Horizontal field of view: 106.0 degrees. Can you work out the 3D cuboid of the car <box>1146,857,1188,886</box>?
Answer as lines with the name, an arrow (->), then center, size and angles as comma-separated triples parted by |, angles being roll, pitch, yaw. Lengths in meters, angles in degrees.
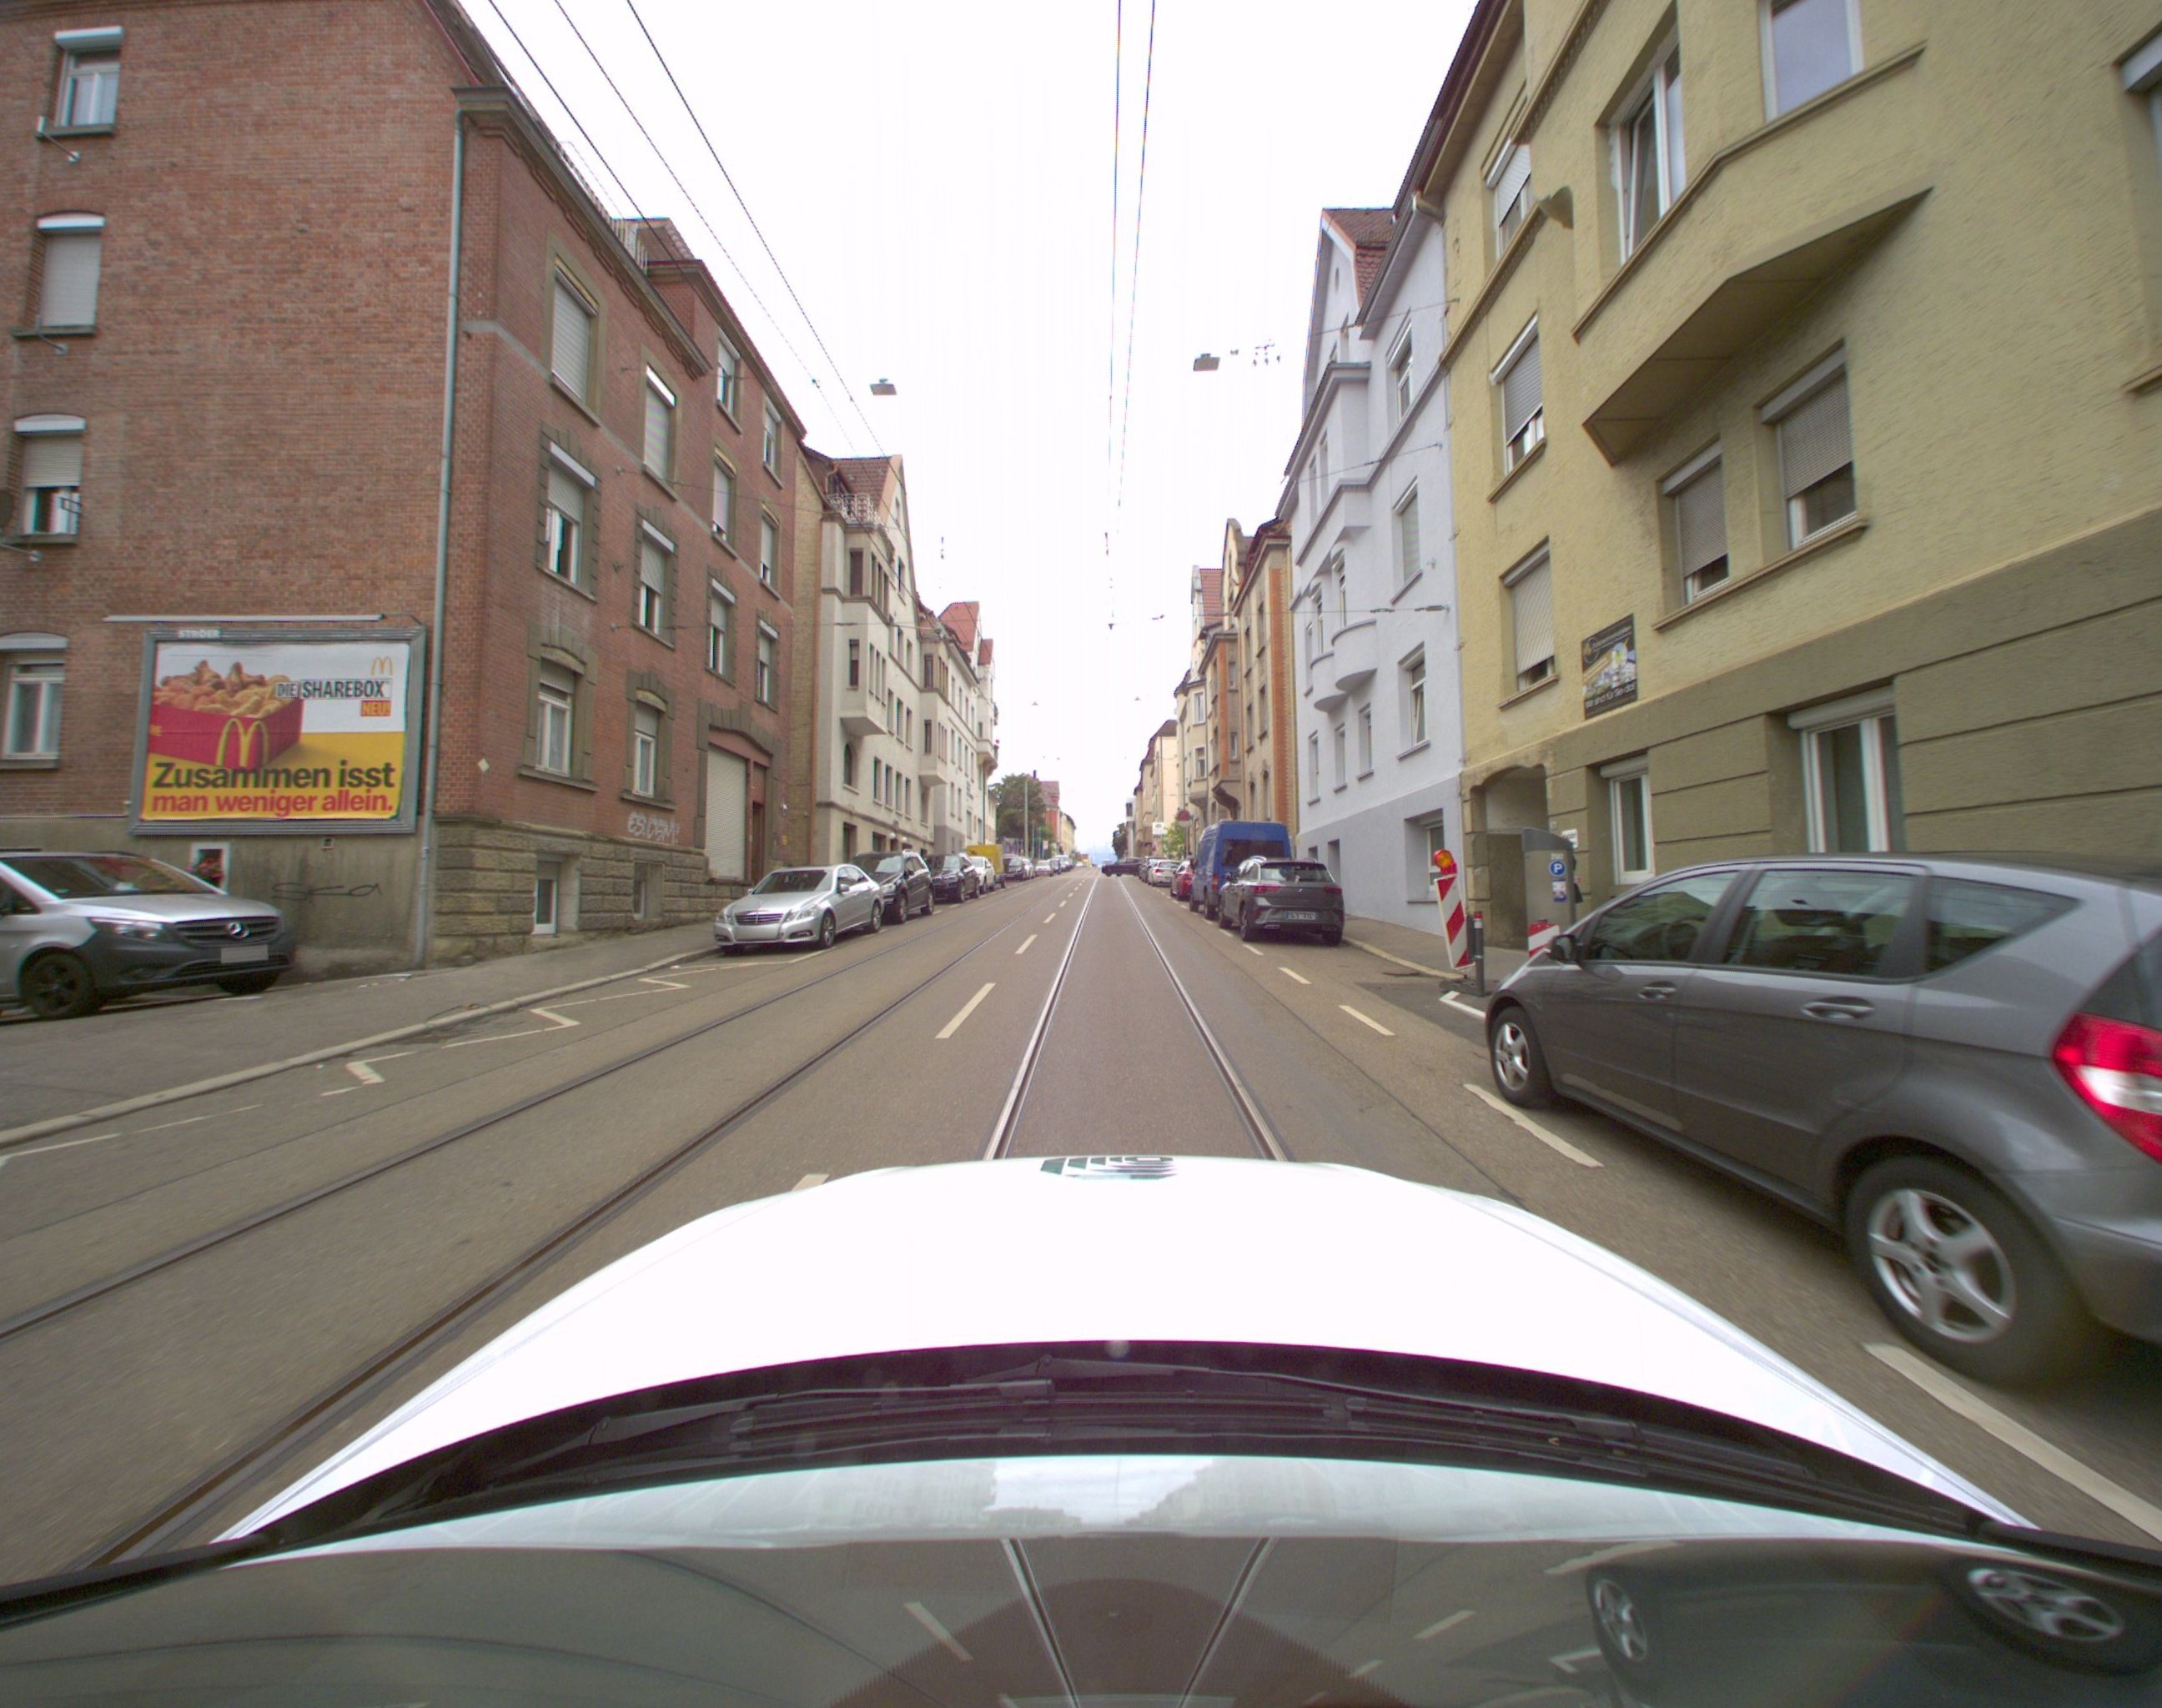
car -> 4.512, 0.890, 43.199 | 1.744, 1.390, 4.307 | 2, 0, 0

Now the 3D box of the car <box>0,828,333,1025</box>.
car -> -11.919, 0.928, 9.143 | 5.154, 1.818, 1.942 | -6, -1, 2

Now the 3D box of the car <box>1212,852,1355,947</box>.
car -> 3.808, 0.792, 16.063 | 1.773, 1.530, 4.192 | 3, 0, 1

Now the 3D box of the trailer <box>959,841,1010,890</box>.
trailer -> -4.606, 0.531, 39.396 | 1.742, 2.155, 4.073 | -3, 0, 2

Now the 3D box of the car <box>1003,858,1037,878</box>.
car -> -4.175, 0.941, 56.209 | 1.772, 1.357, 4.295 | -1, 0, 3

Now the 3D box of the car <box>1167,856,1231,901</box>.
car -> 4.294, 0.855, 30.217 | 1.773, 1.475, 4.591 | 2, 0, 1

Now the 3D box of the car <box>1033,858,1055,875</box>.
car -> -3.584, 1.215, 78.782 | 1.690, 1.556, 3.853 | 0, 0, 3

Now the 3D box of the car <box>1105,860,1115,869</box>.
car -> 5.302, 1.904, 147.420 | 1.666, 1.513, 3.797 | -1, 0, 0

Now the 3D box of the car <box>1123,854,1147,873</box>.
car -> 4.709, 0.842, 71.555 | 1.986, 1.563, 4.292 | 0, 0, 2

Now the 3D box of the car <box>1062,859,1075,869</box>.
car -> -1.981, 1.570, 130.091 | 1.705, 1.446, 4.292 | 0, 0, 2

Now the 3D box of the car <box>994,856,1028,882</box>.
car -> -4.340, 0.907, 50.947 | 1.690, 1.468, 3.025 | -3, -1, 2

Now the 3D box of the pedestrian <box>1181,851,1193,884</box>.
pedestrian -> 5.911, 0.739, 45.458 | 0.597, 1.803, 0.632 | 0, -1, 1

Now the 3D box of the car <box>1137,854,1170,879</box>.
car -> 4.841, 0.839, 54.812 | 1.730, 1.537, 4.572 | 2, 0, -1

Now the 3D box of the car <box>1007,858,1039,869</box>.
car -> -7.684, 1.211, 108.148 | 4.046, 1.445, 1.688 | 0, -1, 1

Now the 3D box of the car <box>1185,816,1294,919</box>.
car -> 3.971, 0.343, 21.258 | 1.986, 2.376, 5.057 | 0, -1, 2

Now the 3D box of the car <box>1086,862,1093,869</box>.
car -> 2.237, 3.045, 216.140 | 1.848, 1.607, 4.298 | 0, 0, 1

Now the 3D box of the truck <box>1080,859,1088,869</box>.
truck -> 0.849, 2.924, 237.575 | 2.294, 3.037, 9.036 | 0, -1, 2

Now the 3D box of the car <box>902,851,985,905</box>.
car -> -4.797, 0.781, 29.055 | 1.866, 1.664, 4.894 | -3, 0, 2

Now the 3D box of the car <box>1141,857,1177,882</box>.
car -> 4.682, 0.918, 49.533 | 1.774, 1.390, 4.692 | 2, 0, 0

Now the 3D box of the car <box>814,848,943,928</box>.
car -> -4.987, 0.765, 20.865 | 1.820, 1.718, 4.916 | -3, 0, 2

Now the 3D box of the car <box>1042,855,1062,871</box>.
car -> -3.144, 0.991, 89.885 | 1.736, 1.736, 4.523 | -2, -1, 3

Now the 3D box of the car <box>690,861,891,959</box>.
car -> -5.173, 0.913, 15.346 | 1.820, 1.429, 4.842 | -3, 0, 2

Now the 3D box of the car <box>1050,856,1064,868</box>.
car -> -3.171, 1.061, 108.154 | 1.691, 1.433, 4.481 | -2, 0, 0

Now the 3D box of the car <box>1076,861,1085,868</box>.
car -> -0.126, 2.403, 183.188 | 1.848, 1.607, 4.298 | 0, 0, 1

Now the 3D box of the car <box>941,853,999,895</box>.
car -> -4.736, 0.818, 35.225 | 1.690, 1.594, 4.270 | -3, 0, 2

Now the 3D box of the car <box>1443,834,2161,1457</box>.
car -> 3.527, 0.732, 3.986 | 1.820, 1.519, 4.030 | 2, 0, 2

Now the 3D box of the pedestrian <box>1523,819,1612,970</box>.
pedestrian -> 5.699, 0.474, 9.569 | 0.540, 1.682, 0.515 | -5, -3, -7

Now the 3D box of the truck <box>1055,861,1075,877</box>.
truck -> -2.152, 2.056, 115.092 | 2.271, 2.188, 8.030 | 0, 0, 3
